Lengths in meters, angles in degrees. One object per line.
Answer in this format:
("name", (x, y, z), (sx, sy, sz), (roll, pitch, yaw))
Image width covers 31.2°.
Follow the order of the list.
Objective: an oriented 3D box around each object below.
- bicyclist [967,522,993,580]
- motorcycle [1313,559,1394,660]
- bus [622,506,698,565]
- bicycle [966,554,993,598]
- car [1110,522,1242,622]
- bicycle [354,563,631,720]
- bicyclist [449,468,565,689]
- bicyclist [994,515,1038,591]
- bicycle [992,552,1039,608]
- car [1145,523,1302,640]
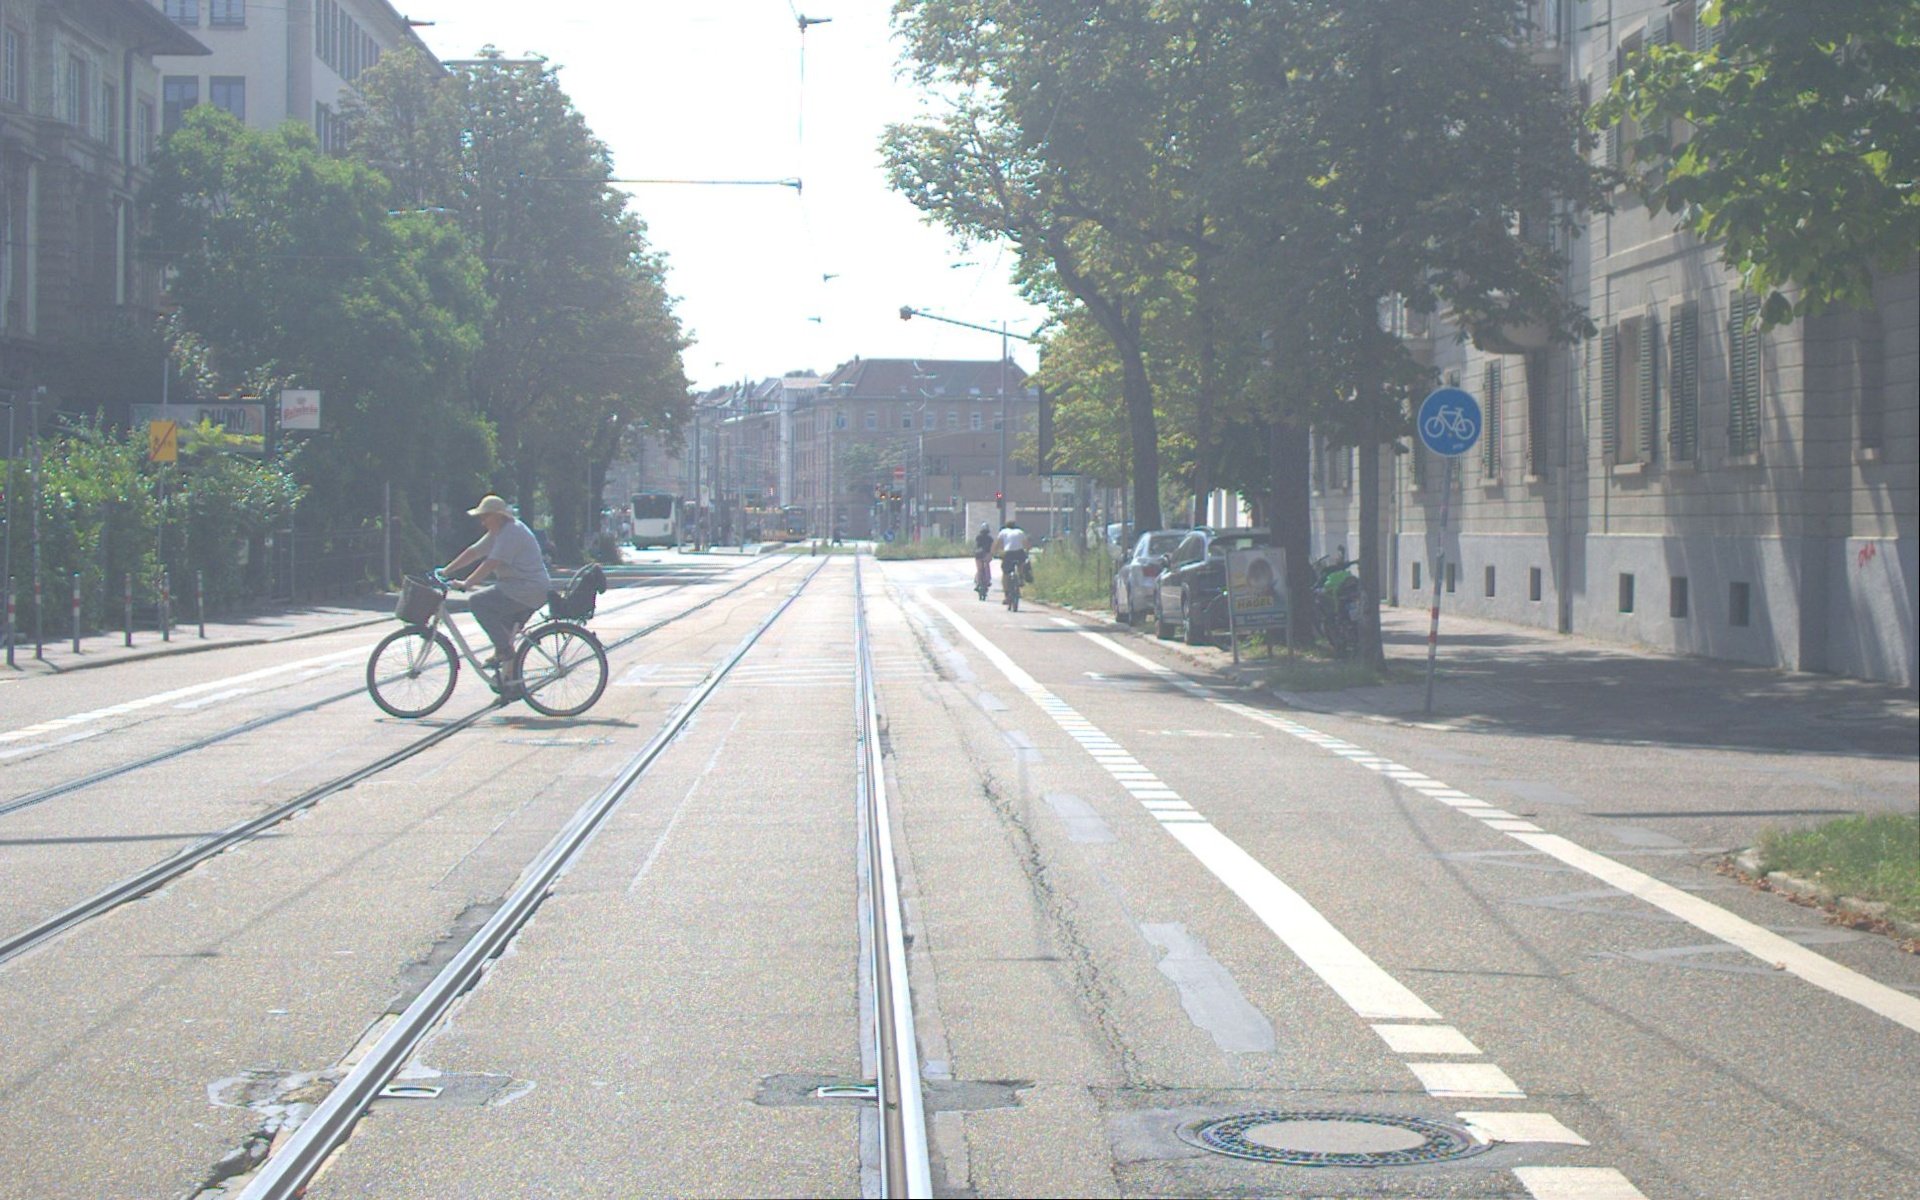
("bicyclist", (0.441, -1.073, 75.865), (0.579, 1.274, 0.471), (0, 1, 1))
("motorcycle", (4.300, 0.088, 37.688), (0.549, 1.064, 2.331), (0, 1, -2))
("bus", (-17.621, -3.784, 203.061), (3.735, 3.352, 15.121), (0, 1, -2))
("bicycle", (0.440, -0.535, 75.969), (0.588, 0.936, 2.172), (0, 1, 1))
("car", (3.254, -0.426, 52.245), (1.583, 1.459, 3.468), (0, 0, -4))
("bicycle", (-3.536, 0.306, 25.942), (2.034, 1.147, 0.786), (0, 1, -10))
("bicyclist", (-3.428, -0.164, 25.951), (0.823, 1.637, 0.786), (0, 1, -10))
("bicyclist", (1.019, -0.861, 63.038), (0.758, 1.387, 0.779), (0, 1, -1))
("bicycle", (1.011, -0.378, 63.264), (0.758, 0.987, 2.298), (0, 1, -2))
("car", (3.396, -0.240, 44.797), (1.583, 1.459, 3.416), (0, 0, -4))
